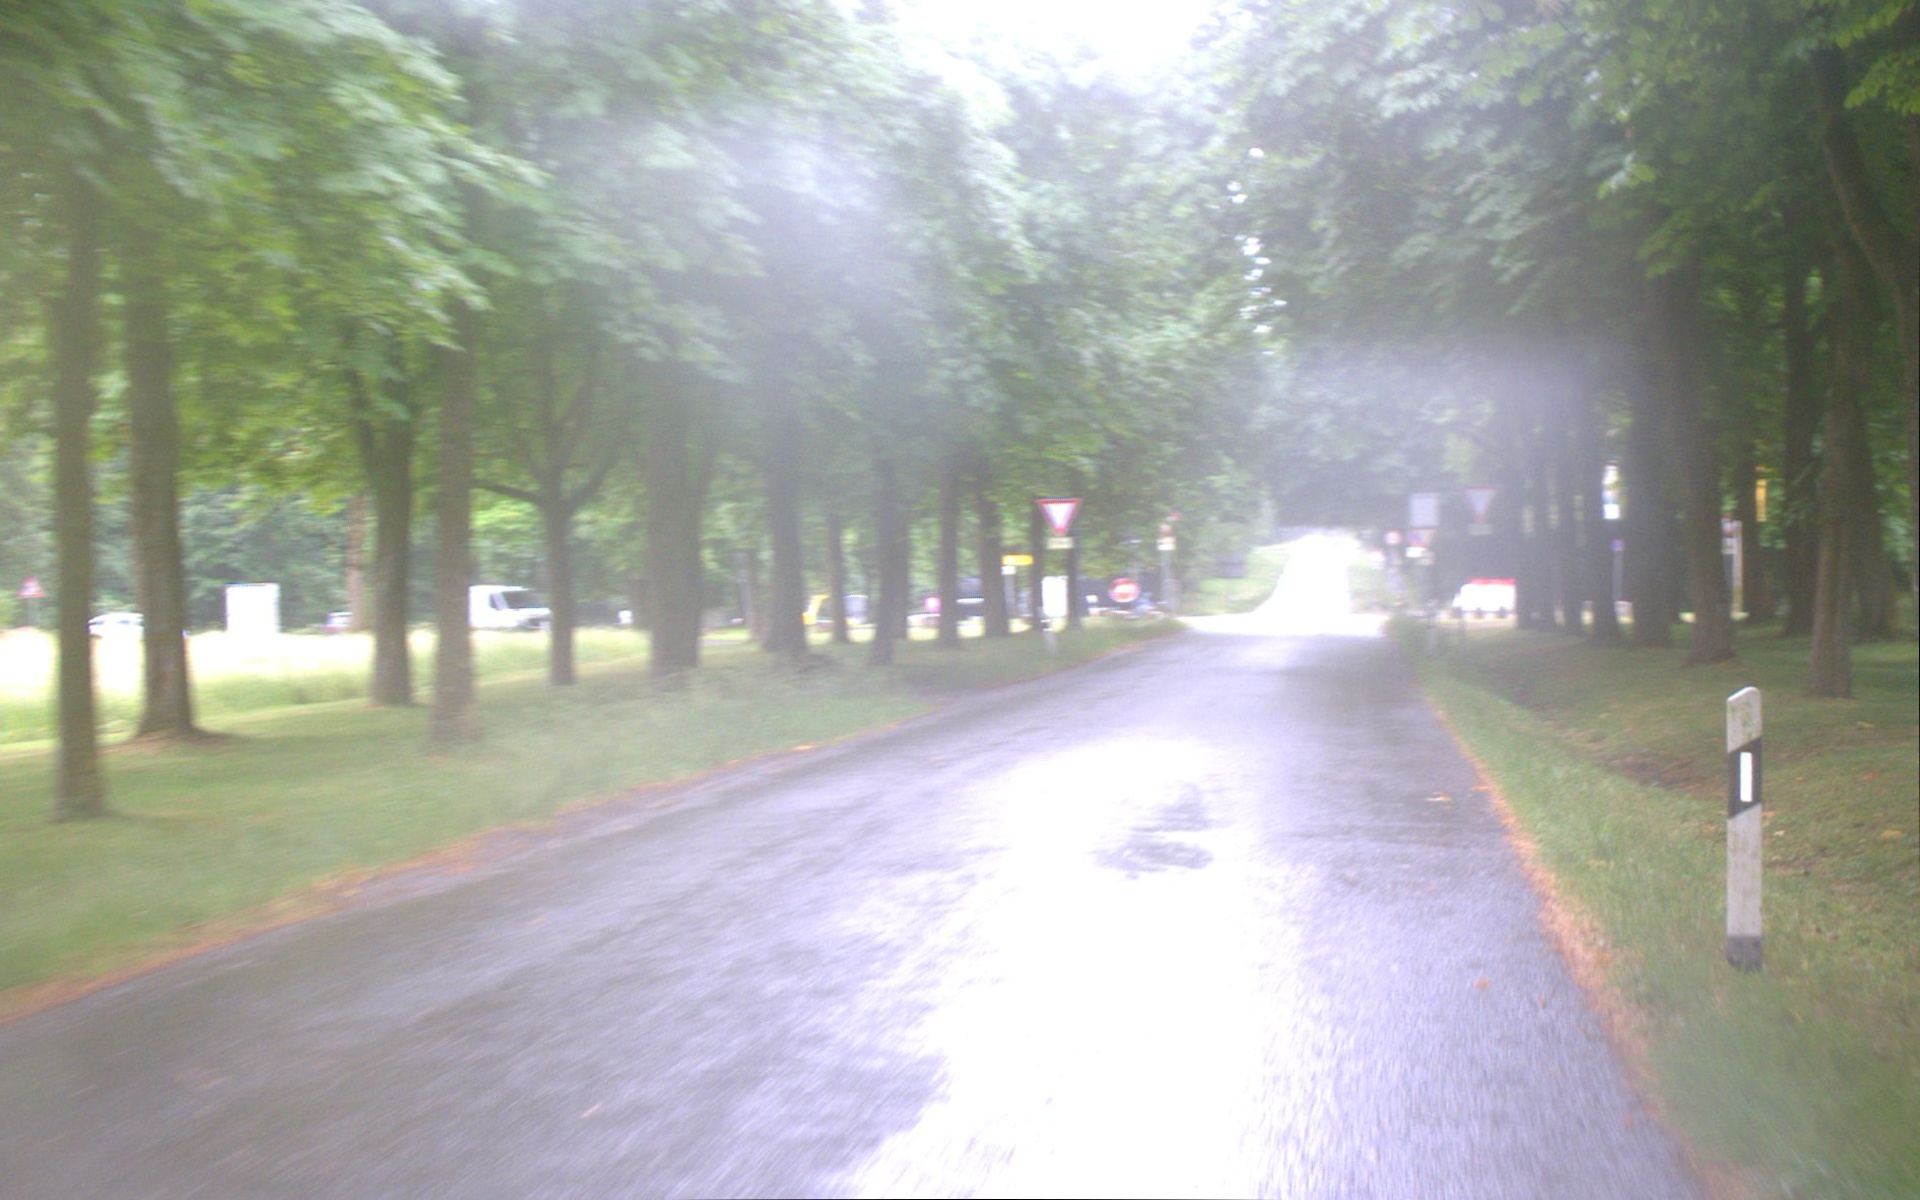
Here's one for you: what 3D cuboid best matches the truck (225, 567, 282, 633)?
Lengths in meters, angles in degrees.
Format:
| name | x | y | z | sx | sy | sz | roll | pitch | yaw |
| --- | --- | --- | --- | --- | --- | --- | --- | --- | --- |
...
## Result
| name | x | y | z | sx | sy | sz | roll | pitch | yaw |
| --- | --- | --- | --- | --- | --- | --- | --- | --- | --- |
| truck | -26.720 | 0.020 | 130.090 | 1.869 | 2.434 | 3.350 | -1 | 0 | -8 |

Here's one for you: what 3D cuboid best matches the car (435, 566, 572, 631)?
| name | x | y | z | sx | sy | sz | roll | pitch | yaw |
| --- | --- | --- | --- | --- | --- | --- | --- | --- | --- |
| car | -17.988 | -0.029 | 135.187 | 2.386 | 2.399 | 5.981 | 1 | -2 | -42 |

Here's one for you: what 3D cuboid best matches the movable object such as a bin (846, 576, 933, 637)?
| name | x | y | z | sx | sy | sz | roll | pitch | yaw |
| --- | --- | --- | --- | --- | --- | --- | --- | --- | --- |
| movable object such as a bin | -3.932 | 0.359 | 190.073 | 4.581 | 3.283 | 3.666 | -1 | 0 | -4 |

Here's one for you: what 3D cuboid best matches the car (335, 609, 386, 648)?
| name | x | y | z | sx | sy | sz | roll | pitch | yaw |
| --- | --- | --- | --- | --- | --- | --- | --- | --- | --- |
| car | -22.932 | 1.082 | 131.447 | 1.762 | 1.424 | 4.108 | -1 | 0 | -12 |
